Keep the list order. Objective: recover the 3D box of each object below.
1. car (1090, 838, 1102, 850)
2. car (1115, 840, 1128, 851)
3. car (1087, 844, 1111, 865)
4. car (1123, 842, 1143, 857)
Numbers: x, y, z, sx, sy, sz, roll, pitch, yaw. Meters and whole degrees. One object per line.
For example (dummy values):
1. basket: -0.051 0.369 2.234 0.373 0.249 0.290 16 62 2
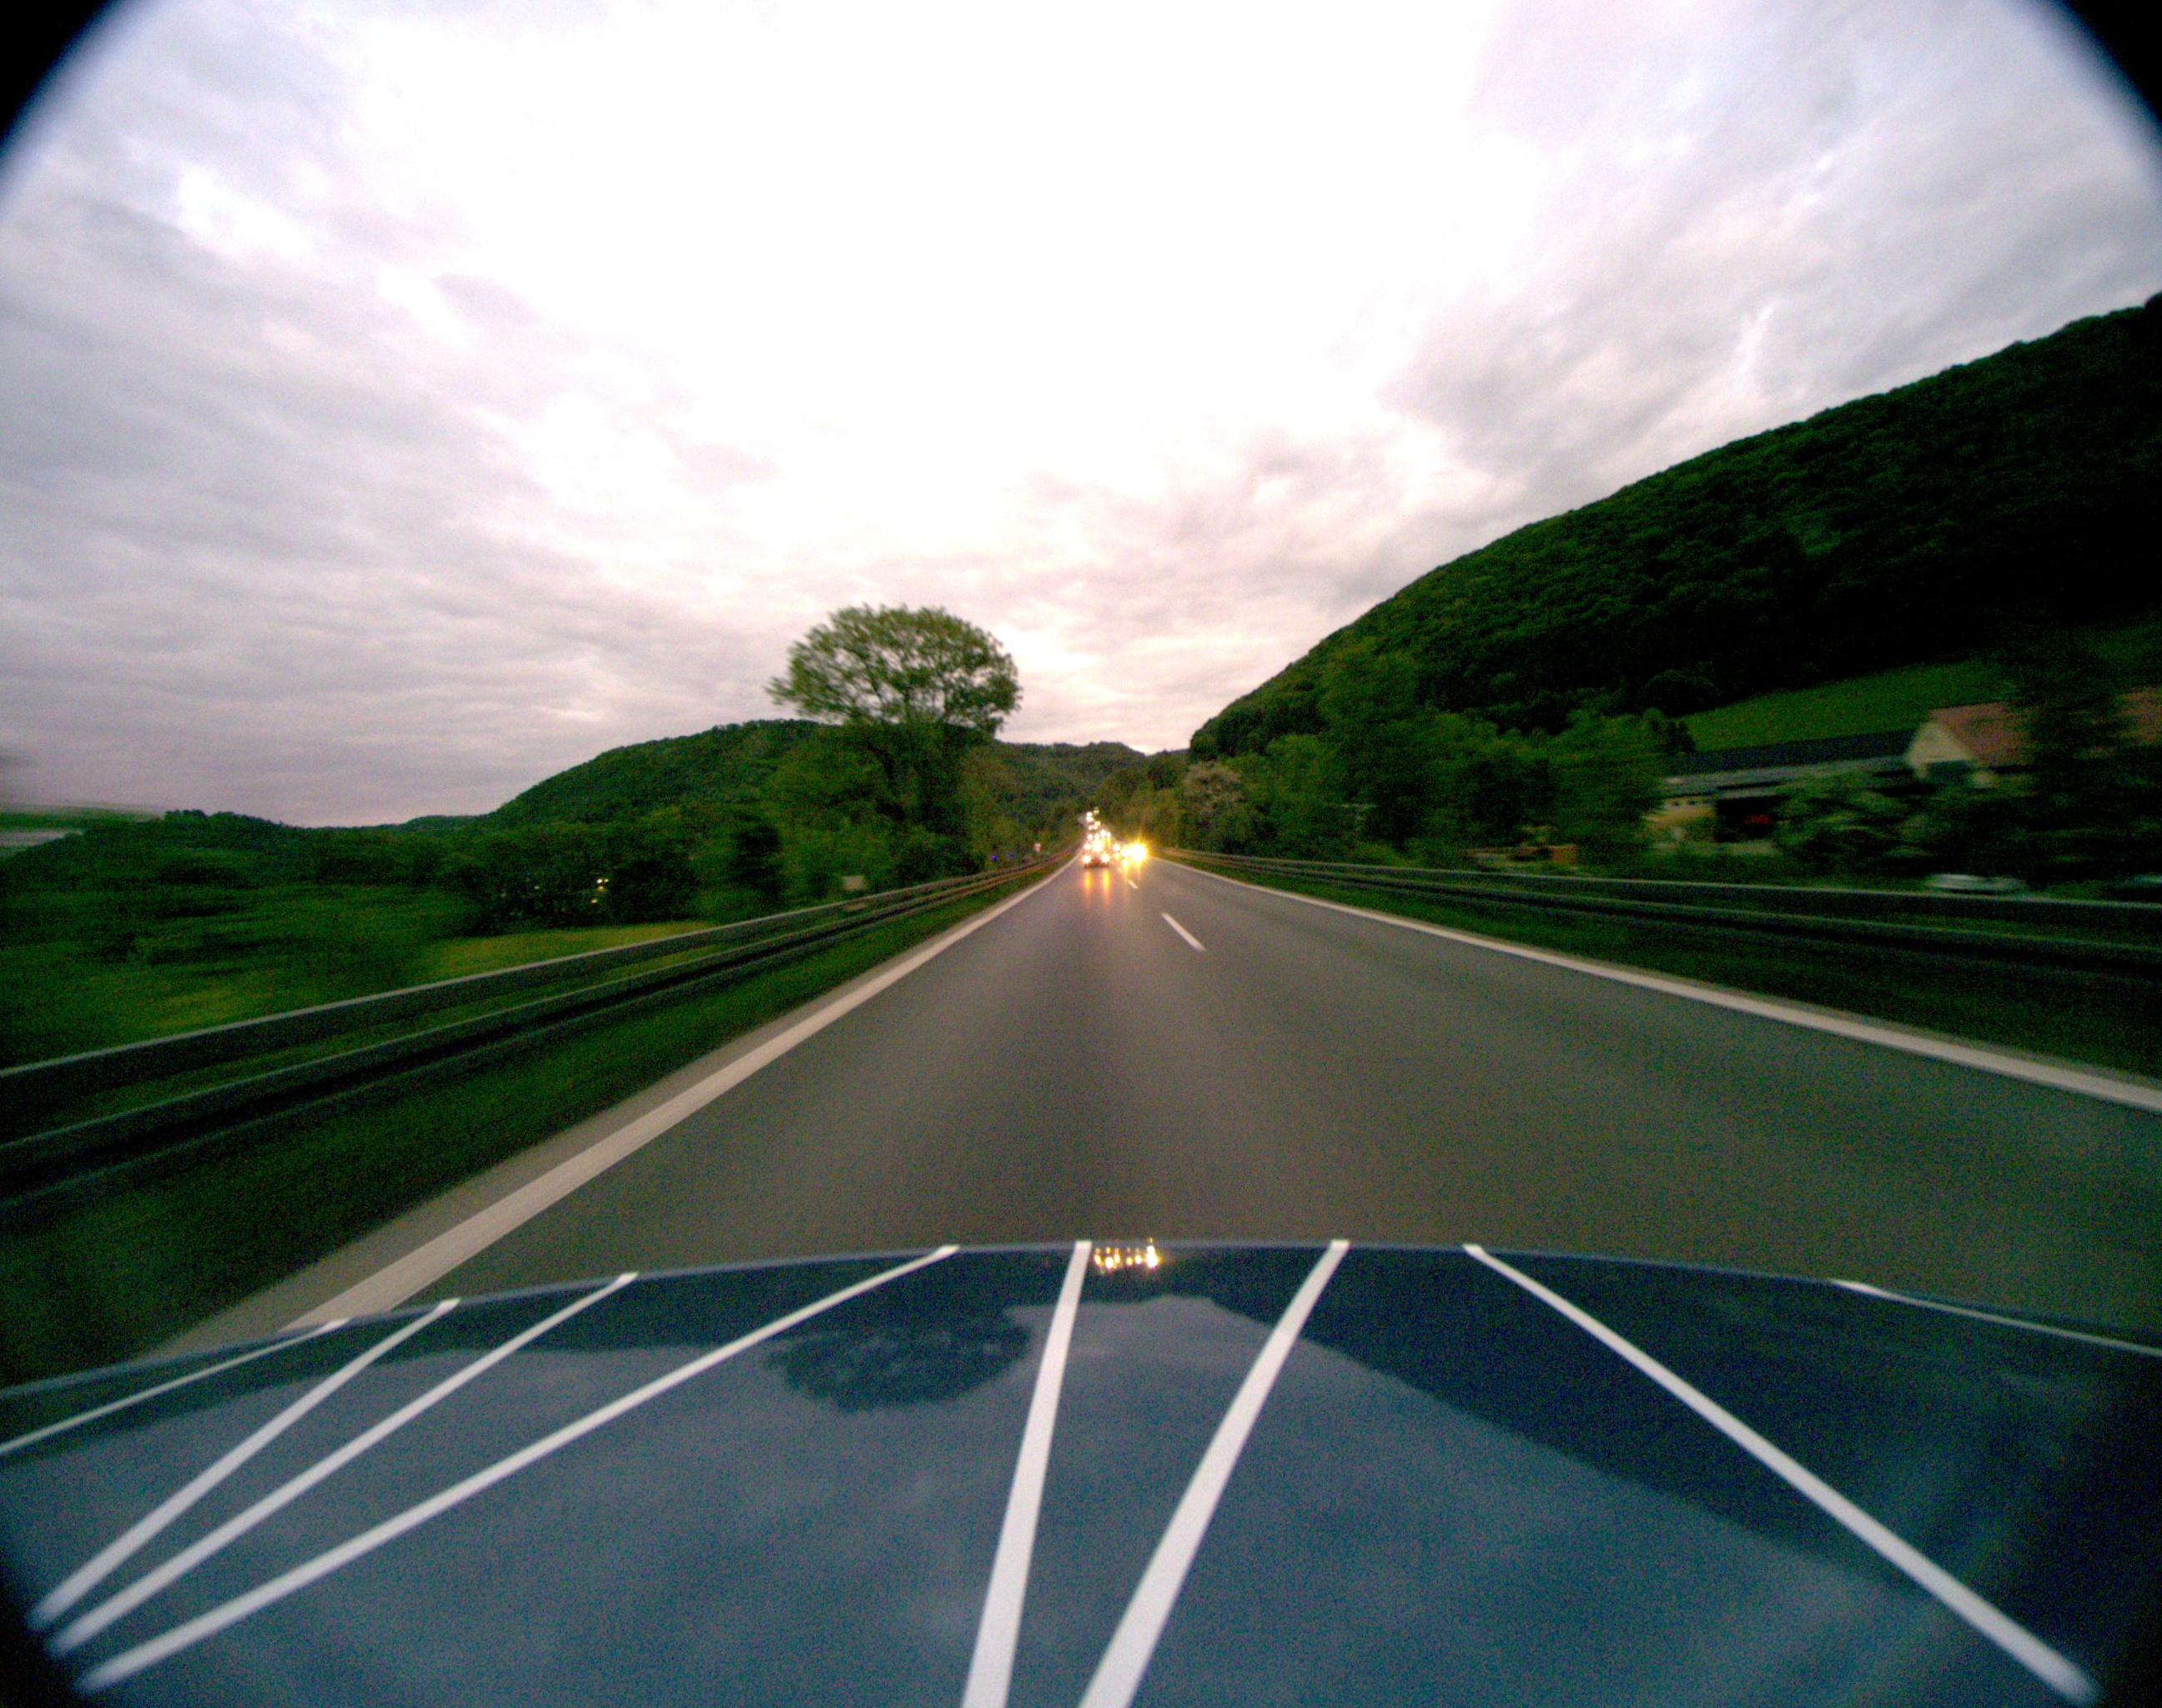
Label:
1. car: 2.264 -1.483 116.938 1.738 1.641 3.669 -3 -1 0
2. car: 5.967 -1.221 111.440 1.690 1.425 3.669 -3 -1 1
3. car: 1.334 0.052 56.831 1.690 1.443 3.669 -3 -1 1
4. car: 5.262 -0.436 77.531 1.690 1.459 3.768 -3 -1 0
